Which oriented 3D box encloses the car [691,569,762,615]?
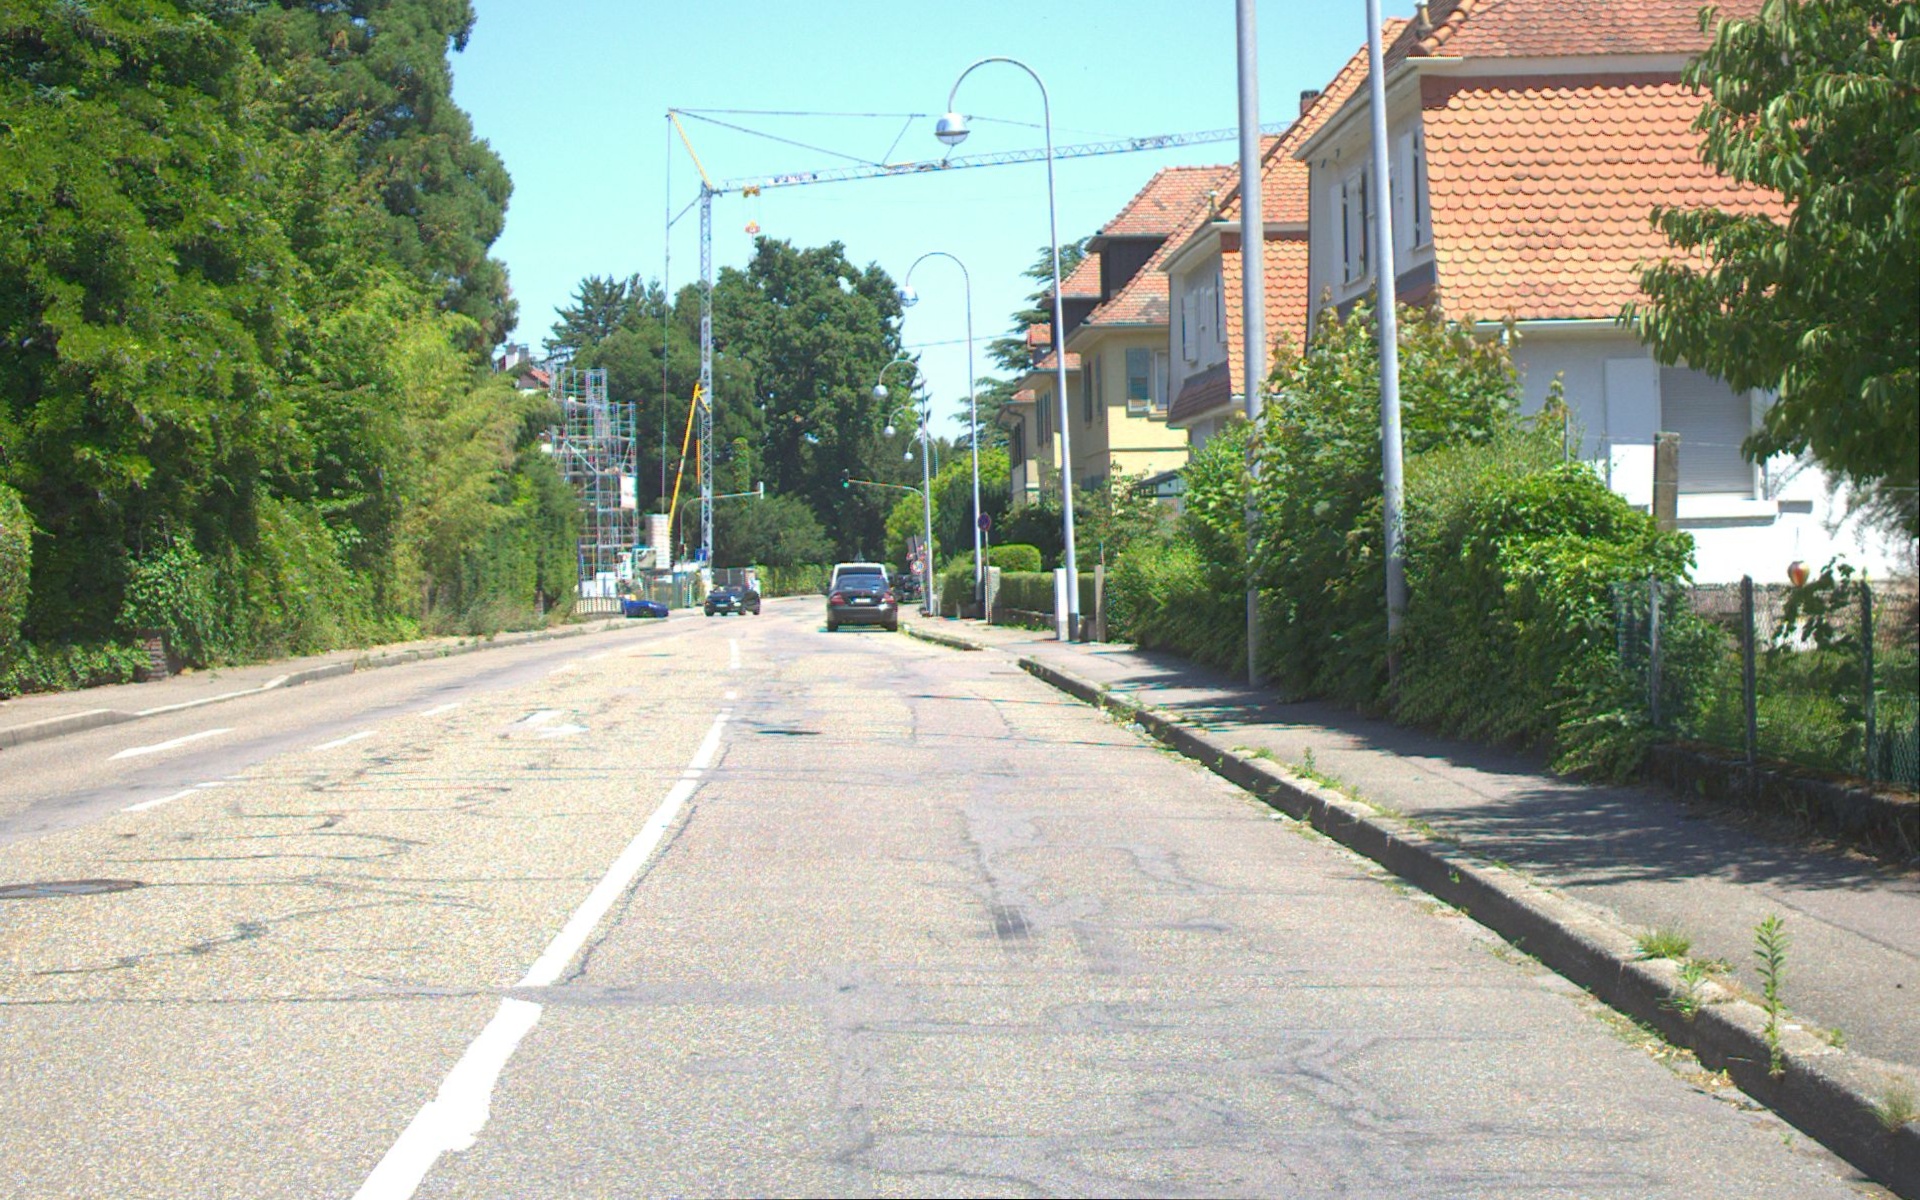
[{"bbox_3d":[-10.715,-0.396,158.031,1.994,1.844,4.709,-1,3,12],"label":"car"}]

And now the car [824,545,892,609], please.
[{"bbox_3d":[-3.128,-0.679,104.806,1.993,1.894,4.823,1,0,-2],"label":"car"}]

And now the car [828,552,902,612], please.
[{"bbox_3d":[-2.375,-0.419,85.085,1.692,1.414,4.551,-1,0,-3],"label":"car"}]

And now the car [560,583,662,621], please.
[{"bbox_3d":[-15.241,0.081,150.079,3.989,1.463,1.964,-2,1,13],"label":"car"}]
